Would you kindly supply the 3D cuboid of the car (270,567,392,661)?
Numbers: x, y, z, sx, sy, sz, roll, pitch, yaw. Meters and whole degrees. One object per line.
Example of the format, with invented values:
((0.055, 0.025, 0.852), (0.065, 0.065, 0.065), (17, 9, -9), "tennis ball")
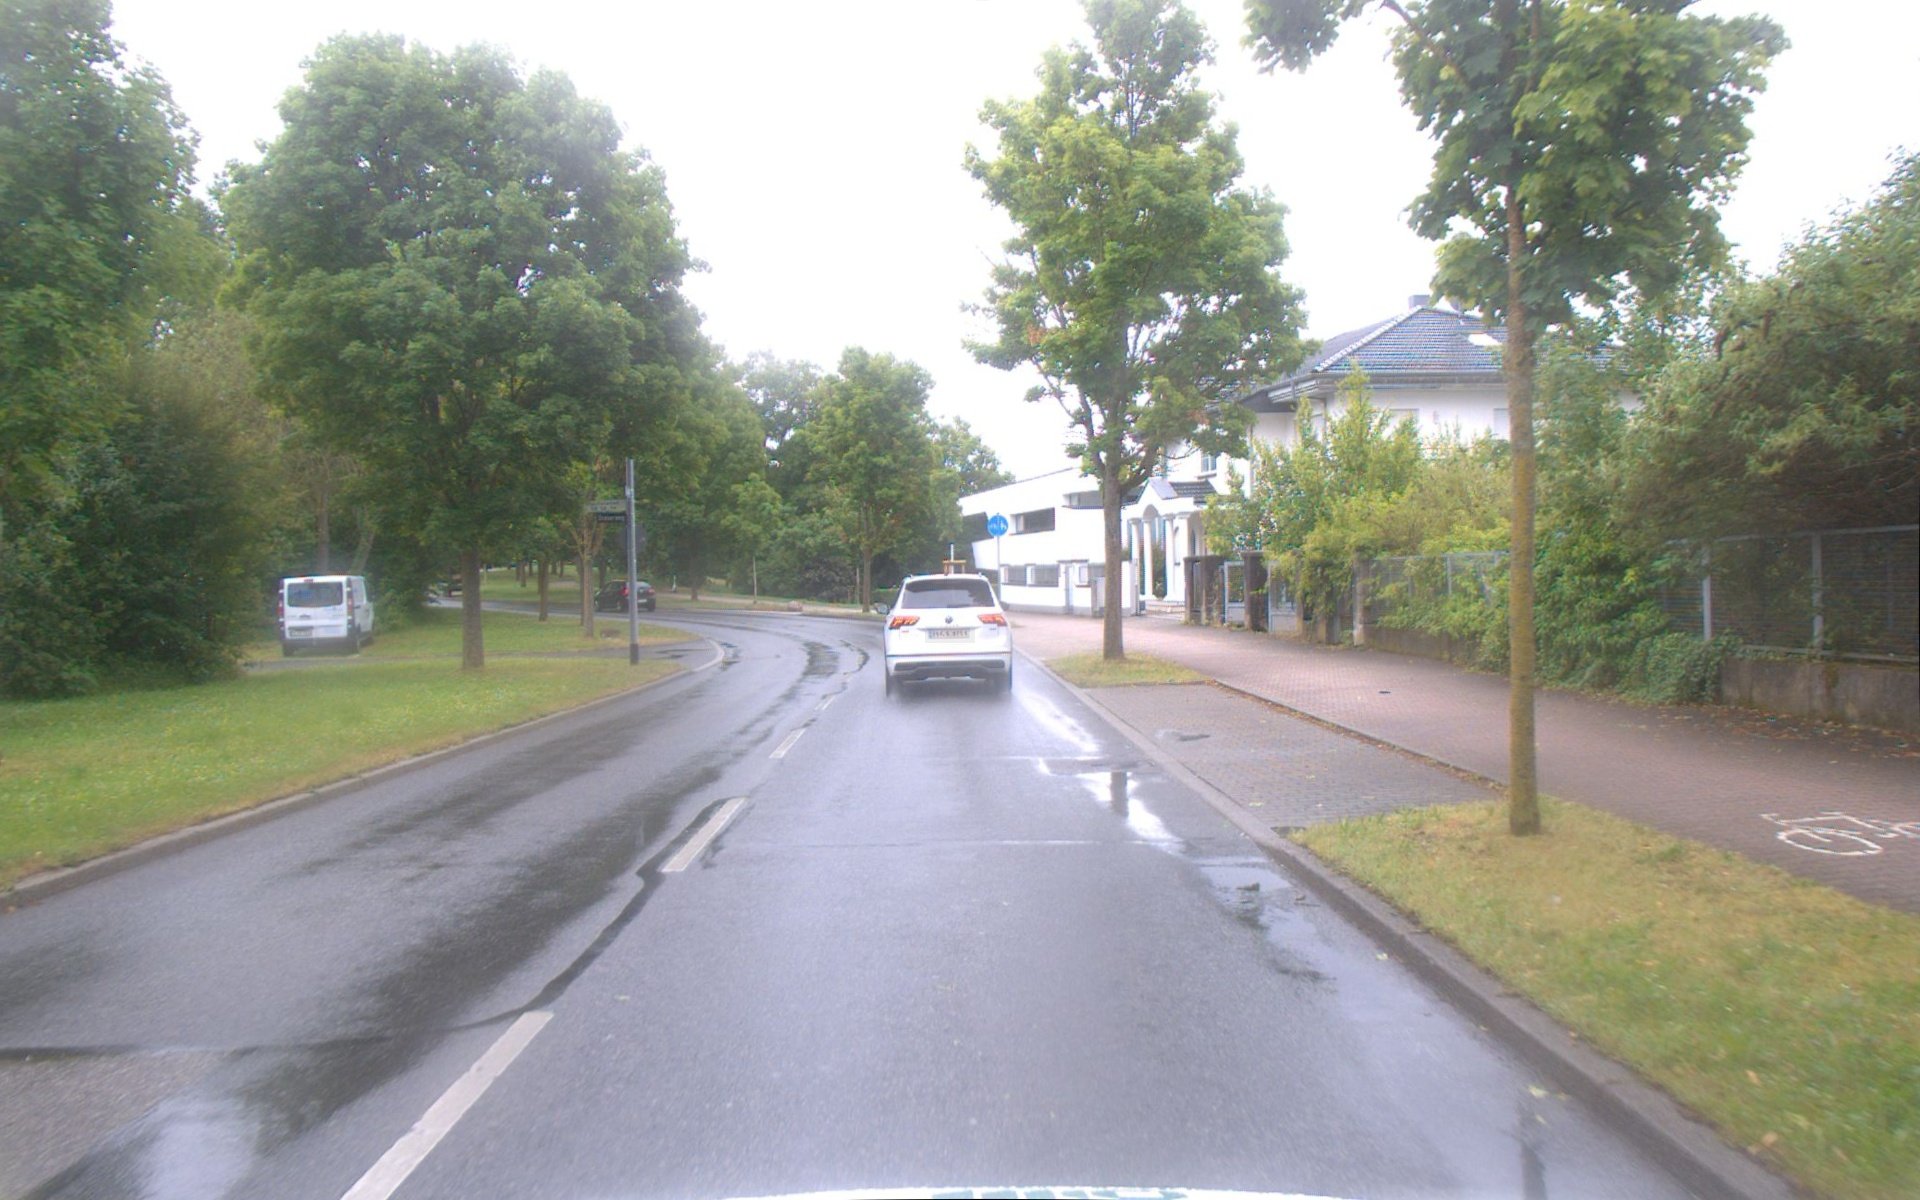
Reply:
((-16.729, 0.295, 44.258), (2.090, 2.020, 5.460), (-3, 4, -12), "car")

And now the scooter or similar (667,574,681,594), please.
((-17.427, -1.001, 100.667), (0.458, 1.166, 1.290), (-3, 3, -27), "scooter or similar")

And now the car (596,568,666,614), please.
((-15.061, -0.422, 75.588), (1.883, 2.049, 3.901), (0, 0, -32), "car")

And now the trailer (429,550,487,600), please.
((-31.816, -1.602, 104.679), (1.975, 2.855, 5.549), (-8, 5, -31), "trailer")

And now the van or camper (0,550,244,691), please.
((-16.456, 0.343, 32.823), (2.340, 2.401, 6.798), (-3, 1, -9), "van or camper")

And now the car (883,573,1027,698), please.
((-0.080, 0.453, 24.391), (1.934, 1.681, 4.177), (0, 1, 0), "car")
